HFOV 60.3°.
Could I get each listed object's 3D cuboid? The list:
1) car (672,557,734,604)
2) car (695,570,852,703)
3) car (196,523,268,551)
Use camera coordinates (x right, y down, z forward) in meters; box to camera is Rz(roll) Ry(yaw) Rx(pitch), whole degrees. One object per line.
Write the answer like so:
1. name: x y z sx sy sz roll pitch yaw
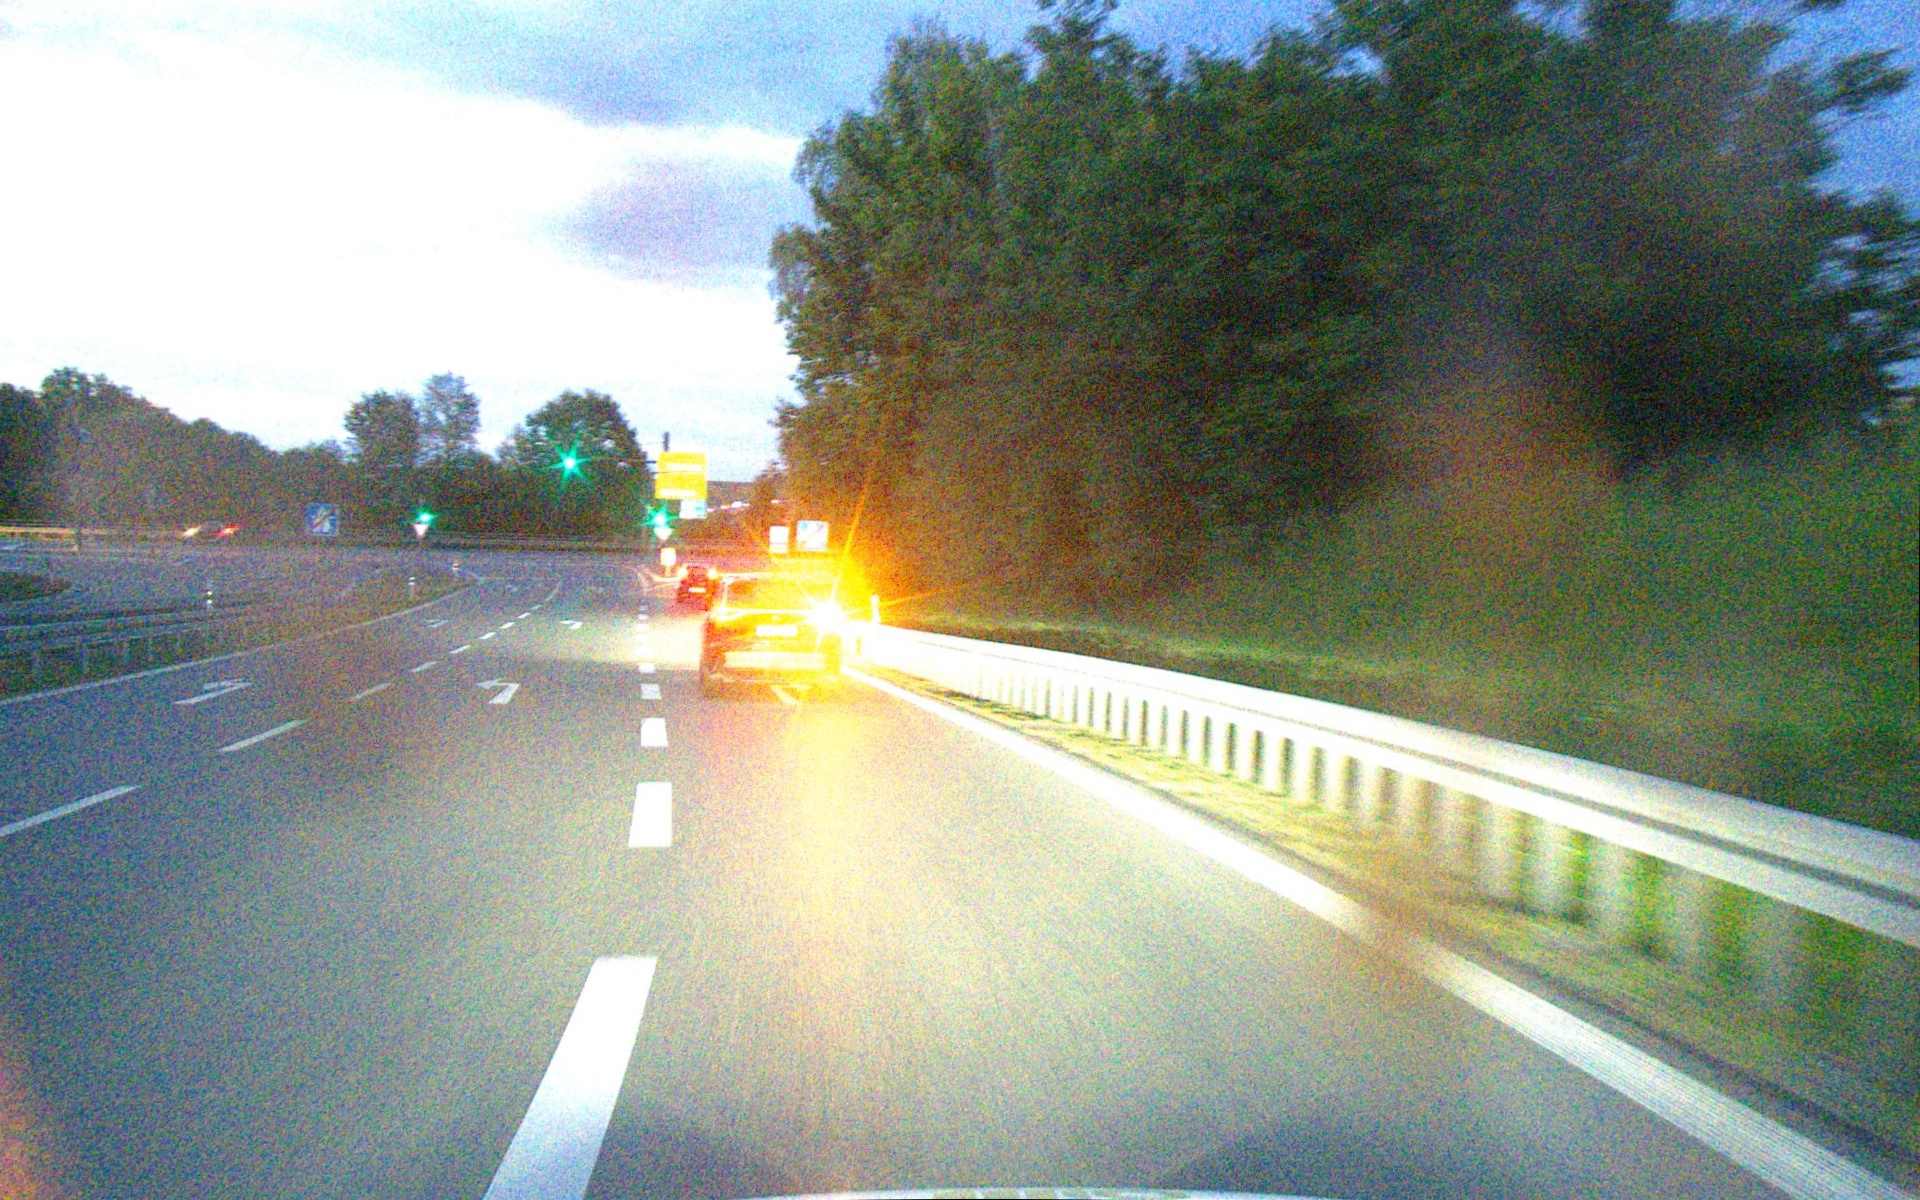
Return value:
1. car: -9.909 -0.735 64.021 1.745 1.682 3.999 2 -1 0
2. car: -2.706 0.450 23.131 1.866 1.648 4.545 1 0 -10
3. car: -44.959 -3.881 102.152 3.937 1.478 1.984 3 1 -26
